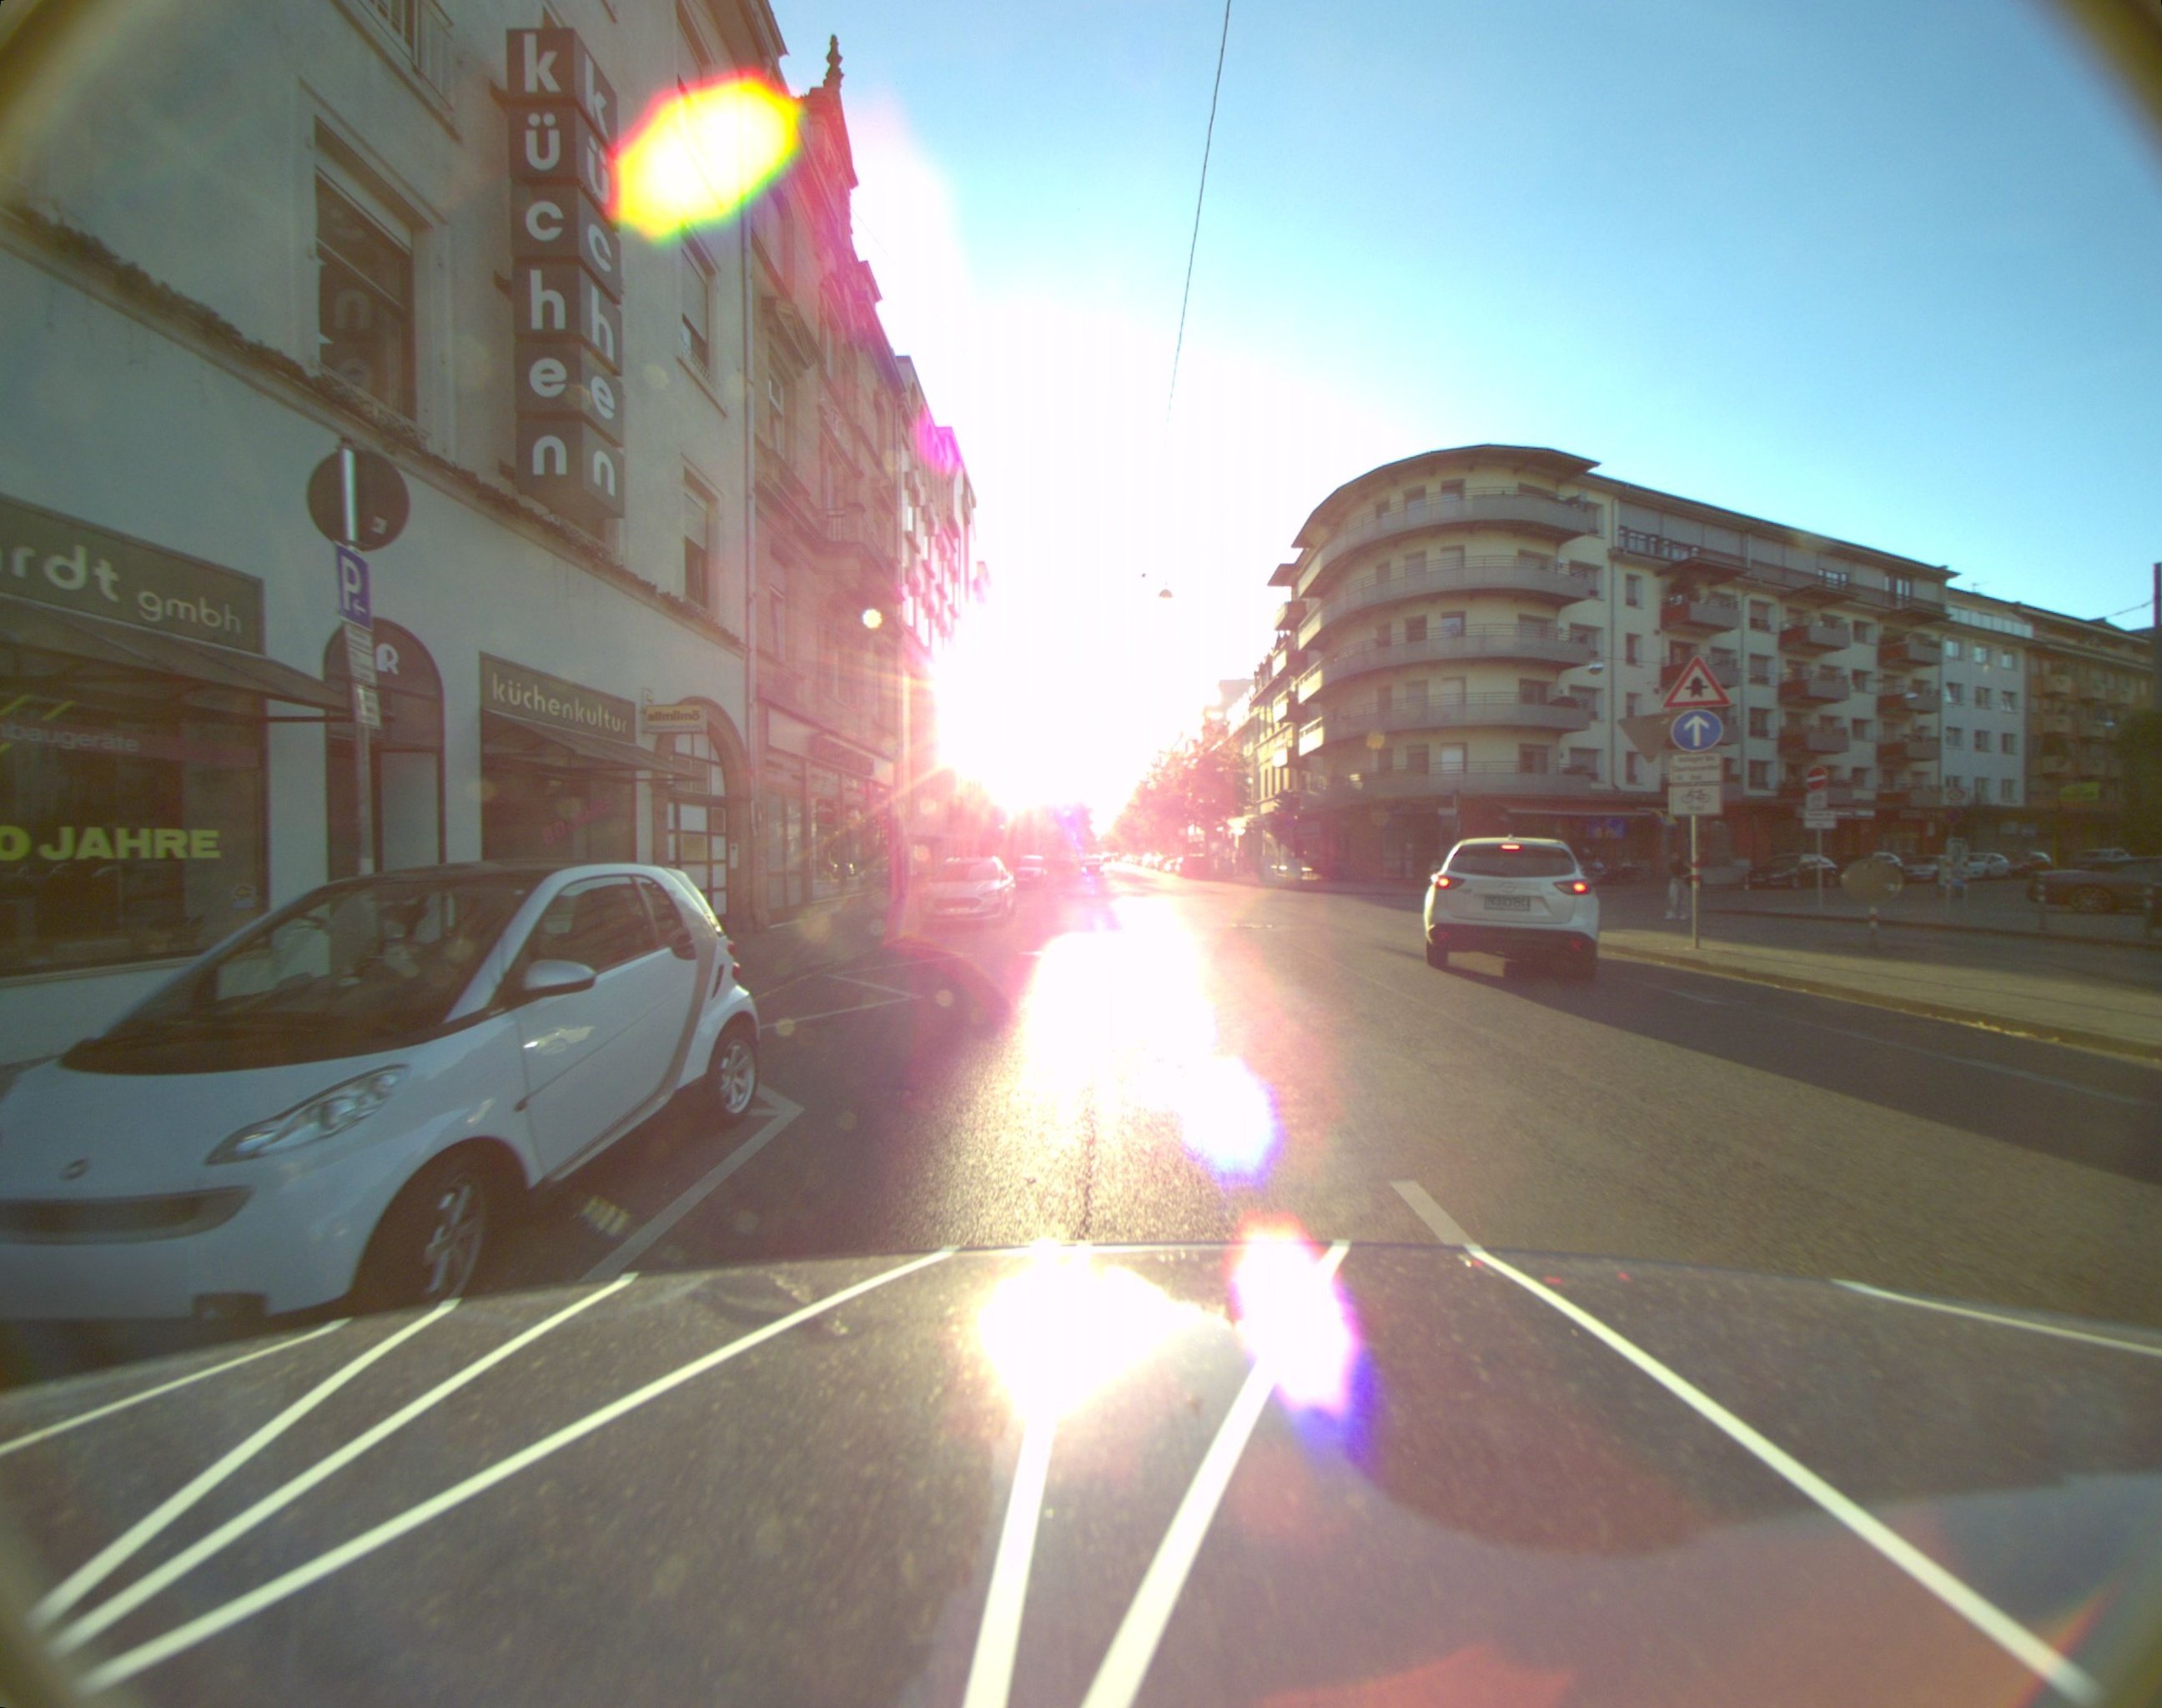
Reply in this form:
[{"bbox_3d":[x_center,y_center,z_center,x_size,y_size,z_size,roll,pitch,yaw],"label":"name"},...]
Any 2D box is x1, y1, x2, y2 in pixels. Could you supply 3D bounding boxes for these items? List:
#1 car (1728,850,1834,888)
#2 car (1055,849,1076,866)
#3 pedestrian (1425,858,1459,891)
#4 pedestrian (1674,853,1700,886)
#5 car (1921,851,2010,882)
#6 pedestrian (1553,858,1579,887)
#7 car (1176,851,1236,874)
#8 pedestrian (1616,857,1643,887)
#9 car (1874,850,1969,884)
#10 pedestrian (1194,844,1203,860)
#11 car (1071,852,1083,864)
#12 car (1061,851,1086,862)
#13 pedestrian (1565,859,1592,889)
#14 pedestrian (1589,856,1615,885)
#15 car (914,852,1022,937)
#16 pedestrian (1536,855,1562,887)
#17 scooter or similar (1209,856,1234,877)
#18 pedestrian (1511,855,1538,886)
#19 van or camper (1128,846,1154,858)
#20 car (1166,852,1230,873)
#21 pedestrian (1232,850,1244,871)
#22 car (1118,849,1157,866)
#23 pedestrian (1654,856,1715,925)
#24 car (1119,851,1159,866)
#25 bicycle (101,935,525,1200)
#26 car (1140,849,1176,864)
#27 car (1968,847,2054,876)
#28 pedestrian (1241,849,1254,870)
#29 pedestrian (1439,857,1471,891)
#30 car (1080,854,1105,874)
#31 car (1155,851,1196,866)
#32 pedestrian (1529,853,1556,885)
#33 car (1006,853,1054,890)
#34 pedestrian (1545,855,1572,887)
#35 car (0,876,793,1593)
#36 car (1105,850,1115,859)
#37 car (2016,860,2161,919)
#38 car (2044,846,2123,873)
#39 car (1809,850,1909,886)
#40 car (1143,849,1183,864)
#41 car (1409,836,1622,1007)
[{"bbox_3d":[31.315,0.648,33.988,4.004,1.587,1.966,-1,1,-22],"label":"car"},{"bbox_3d":[-1.675,0.355,83.200,2.043,1.727,4.711,2,0,2],"label":"car"},{"bbox_3d":[14.261,0.804,30.041,0.900,1.235,0.767,0,2,-8],"label":"pedestrian"},{"bbox_3d":[27.023,0.676,33.904,0.702,1.461,0.620,-1,2,-25],"label":"pedestrian"},{"bbox_3d":[48.218,0.640,41.427,4.004,1.587,1.966,-1,1,-22],"label":"car"},{"bbox_3d":[21.346,0.820,33.432,0.622,1.218,0.700,0,2,-12],"label":"pedestrian"},{"bbox_3d":[9.120,0.621,55.544,4.082,1.527,1.884,-2,0,1],"label":"car"},{"bbox_3d":[24.015,0.781,33.278,0.622,1.281,0.700,-1,2,-20],"label":"pedestrian"},{"bbox_3d":[42.436,0.630,38.379,4.004,1.587,1.966,-1,1,-22],"label":"car"},{"bbox_3d":[12.715,-0.223,82.010,0.774,1.712,0.875,-2,2,1],"label":"pedestrian"},{"bbox_3d":[-0.544,0.528,105.936,1.695,1.534,3.553,1,0,1],"label":"car"},{"bbox_3d":[-1.120,0.324,115.638,1.661,1.574,3.632,1,-1,42],"label":"car"},{"bbox_3d":[21.006,0.847,32.104,0.622,1.218,0.700,0,2,-12],"label":"pedestrian"},{"bbox_3d":[23.361,0.740,34.082,0.622,1.281,0.700,-1,2,-20],"label":"pedestrian"},{"bbox_3d":[-2.409,0.797,17.392,1.763,1.528,4.820,-3,1,-1],"label":"car"},{"bbox_3d":[19.990,0.715,32.484,0.622,1.326,0.701,0,2,-8],"label":"pedestrian"},{"bbox_3d":[8.857,0.785,47.938,1.402,1.219,0.525,-1,1,-2],"label":"scooter or similar"},{"bbox_3d":[18.074,0.665,31.002,0.622,1.240,0.701,0,2,-8],"label":"pedestrian"},{"bbox_3d":[10.559,-0.345,133.958,4.469,1.945,1.789,-1,0,2],"label":"van or camper"},{"bbox_3d":[8.878,0.622,57.984,4.582,1.399,1.821,-2,0,0],"label":"car"},{"bbox_3d":[12.187,0.502,58.856,0.736,1.519,0.875,-2,2,1],"label":"pedestrian"},{"bbox_3d":[6.369,0.349,85.575,4.160,1.762,1.889,-2,1,-1],"label":"car"},{"bbox_3d":[13.926,0.824,17.542,0.901,1.557,0.766,0,0,-24],"label":"pedestrian"},{"bbox_3d":[6.262,0.474,82.552,4.160,1.413,1.766,-2,1,-1],"label":"car"},{"bbox_3d":[-4.257,1.091,4.482,0.505,1.010,1.947,0,0,0],"label":"bicycle"},{"bbox_3d":[8.139,0.246,80.186,3.565,1.493,1.716,-2,1,0],"label":"car"},{"bbox_3d":[52.496,0.401,42.897,4.004,1.587,1.966,-1,1,-22],"label":"car"},{"bbox_3d":[12.910,0.445,58.813,0.774,1.599,0.875,-2,2,1],"label":"pedestrian"},{"bbox_3d":[14.471,0.776,29.425,0.829,1.266,0.748,0,2,-8],"label":"pedestrian"},{"bbox_3d":[0.934,0.754,59.755,1.825,1.469,4.155,-1,1,2],"label":"car"},{"bbox_3d":[9.440,0.439,76.180,3.748,1.435,1.805,-2,1,-2],"label":"car"},{"bbox_3d":[18.943,0.611,31.179,0.622,1.281,0.701,0,2,-8],"label":"pedestrian"},{"bbox_3d":[-2.321,0.780,35.669,1.763,1.527,4.000,2,0,2],"label":"car"},{"bbox_3d":[19.737,0.705,31.423,0.622,1.281,0.701,0,2,-8],"label":"pedestrian"},{"bbox_3d":[-2.779,0.958,3.425,1.535,1.528,3.283,-2,1,2],"label":"car"},{"bbox_3d":[5.504,0.098,145.751,1.866,1.682,4.461,0,-1,1],"label":"car"},{"bbox_3d":[25.248,0.800,17.430,2.003,1.310,4.517,0,0,-30],"label":"car"},{"bbox_3d":[62.325,0.305,47.243,4.004,1.587,1.966,-1,1,-22],"label":"car"},{"bbox_3d":[37.171,0.631,36.309,4.004,1.587,1.966,-1,1,-22],"label":"car"},{"bbox_3d":[9.476,0.249,87.937,4.417,1.586,1.890,-2,0,0],"label":"car"},{"bbox_3d":[5.946,0.678,10.343,1.994,1.751,4.474,2,2,32],"label":"car"}]
